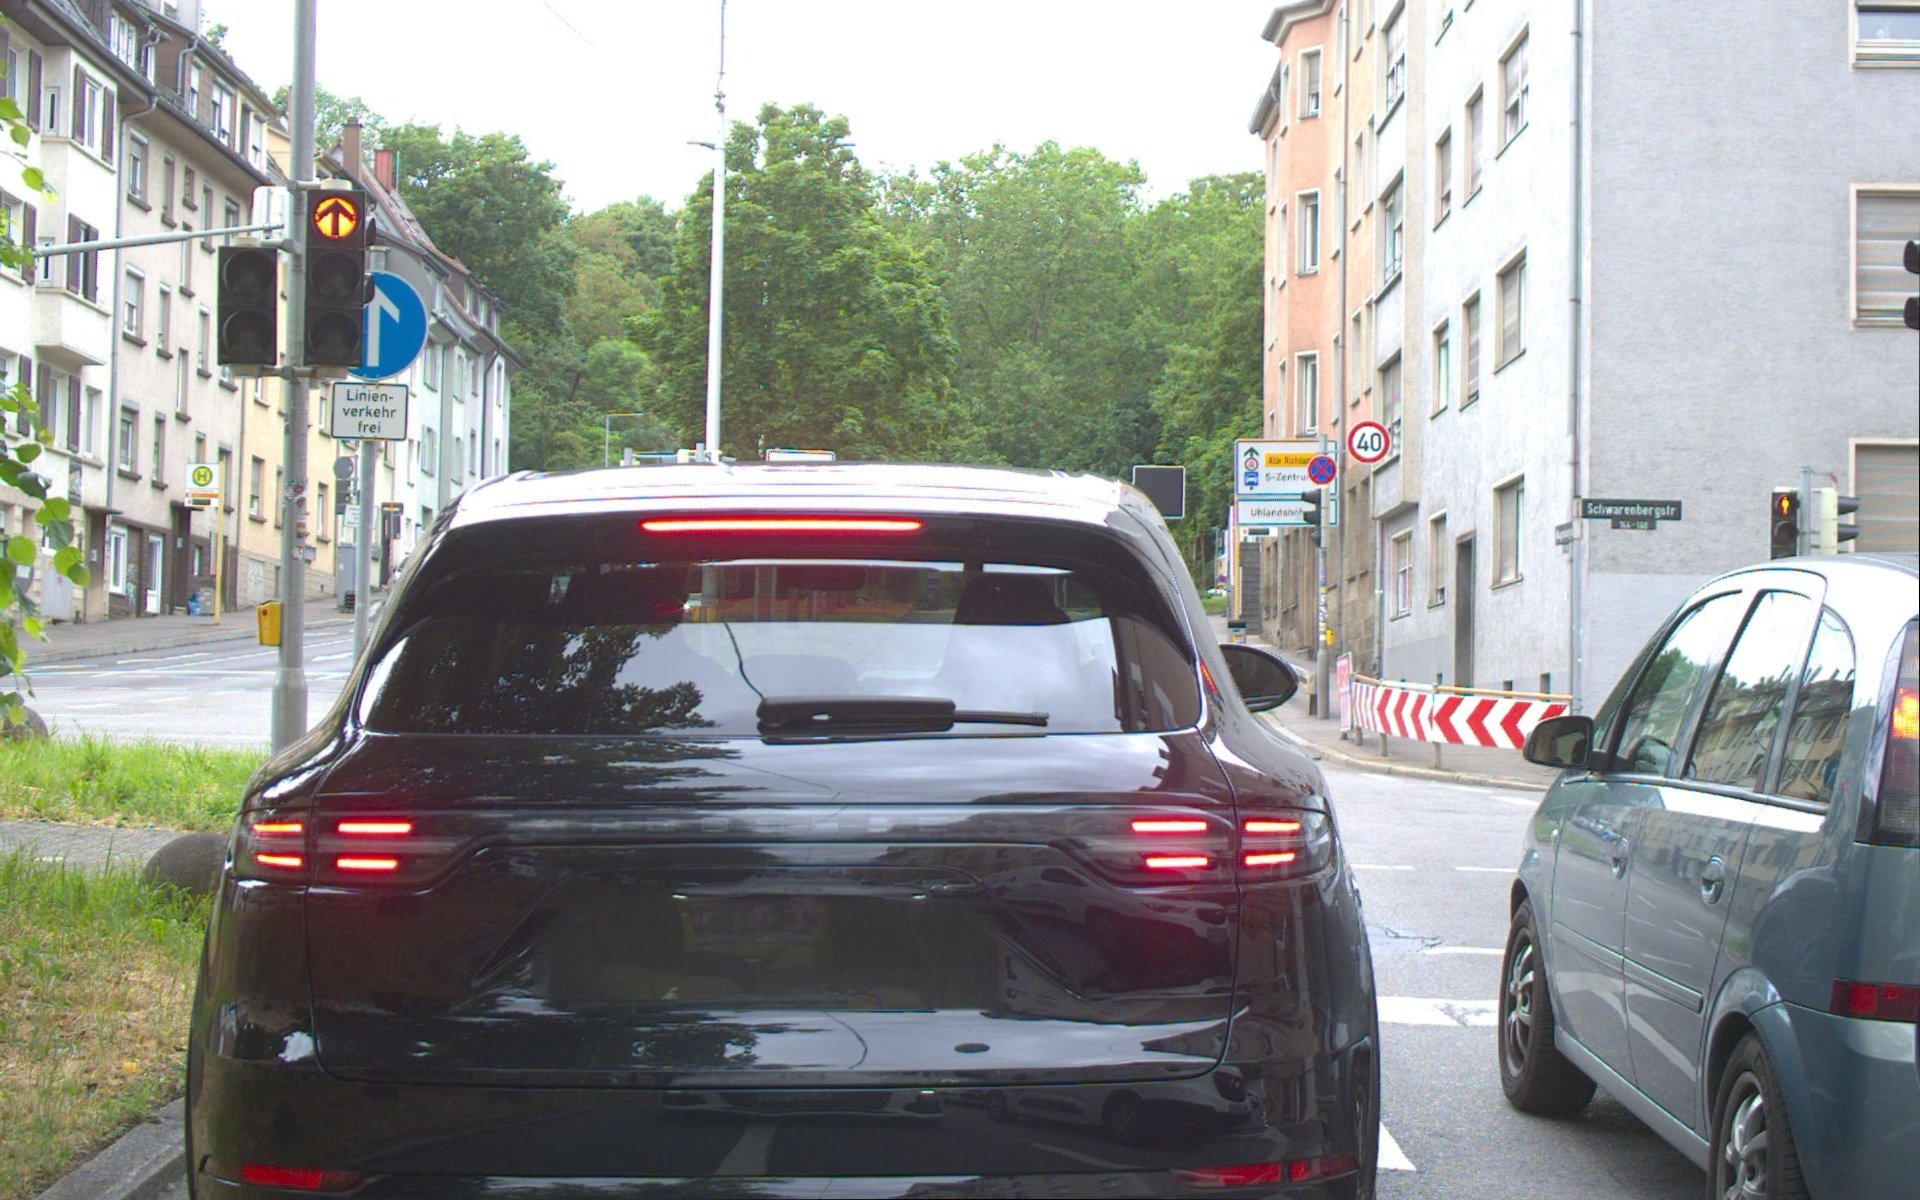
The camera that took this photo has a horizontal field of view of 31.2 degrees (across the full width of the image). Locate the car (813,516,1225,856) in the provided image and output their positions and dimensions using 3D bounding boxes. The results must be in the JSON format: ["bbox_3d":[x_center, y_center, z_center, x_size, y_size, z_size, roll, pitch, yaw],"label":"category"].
[{"bbox_3d":[0.325,0.404,18.703,1.994,1.647,4.000,0,0,1],"label":"car"}]

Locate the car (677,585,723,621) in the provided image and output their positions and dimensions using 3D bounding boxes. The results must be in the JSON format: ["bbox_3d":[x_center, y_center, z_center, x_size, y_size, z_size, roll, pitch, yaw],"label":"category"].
[{"bbox_3d":[-11.537,0.151,152.906,1.794,1.505,4.000,1,-1,-1],"label":"car"}]

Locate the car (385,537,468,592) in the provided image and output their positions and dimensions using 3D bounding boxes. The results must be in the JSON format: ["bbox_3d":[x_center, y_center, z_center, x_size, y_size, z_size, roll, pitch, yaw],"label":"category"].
[{"bbox_3d":[-15.295,-1.032,98.732,1.794,1.505,4.000,1,1,-1],"label":"car"}]

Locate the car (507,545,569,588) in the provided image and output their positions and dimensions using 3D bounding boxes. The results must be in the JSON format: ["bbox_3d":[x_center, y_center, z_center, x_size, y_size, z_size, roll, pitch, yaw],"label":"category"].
[{"bbox_3d":[-15.352,-1.223,125.144,1.794,1.505,4.000,1,1,-1],"label":"car"}]

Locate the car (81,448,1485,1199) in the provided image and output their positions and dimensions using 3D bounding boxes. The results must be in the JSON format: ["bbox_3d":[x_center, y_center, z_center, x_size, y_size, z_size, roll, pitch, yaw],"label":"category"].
[{"bbox_3d":[-0.216,0.561,6.894,1.994,1.647,4.000,0,1,1],"label":"car"}]

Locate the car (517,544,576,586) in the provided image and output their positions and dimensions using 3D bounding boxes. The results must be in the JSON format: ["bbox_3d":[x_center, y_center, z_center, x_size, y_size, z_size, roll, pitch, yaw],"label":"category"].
[{"bbox_3d":[-15.610,-1.328,130.042,1.794,1.505,4.000,1,1,-1],"label":"car"}]

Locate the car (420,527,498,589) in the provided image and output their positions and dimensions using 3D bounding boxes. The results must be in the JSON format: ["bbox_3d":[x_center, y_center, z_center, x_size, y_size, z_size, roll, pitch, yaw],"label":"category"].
[{"bbox_3d":[-15.094,-1.292,103.753,1.794,1.804,4.000,1,1,-1],"label":"car"}]

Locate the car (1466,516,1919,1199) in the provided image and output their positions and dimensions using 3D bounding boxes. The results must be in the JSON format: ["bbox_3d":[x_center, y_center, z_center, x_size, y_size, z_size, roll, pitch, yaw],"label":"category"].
[{"bbox_3d":[2.407,0.680,8.032,1.752,1.588,3.631,4,1,-1],"label":"car"}]
